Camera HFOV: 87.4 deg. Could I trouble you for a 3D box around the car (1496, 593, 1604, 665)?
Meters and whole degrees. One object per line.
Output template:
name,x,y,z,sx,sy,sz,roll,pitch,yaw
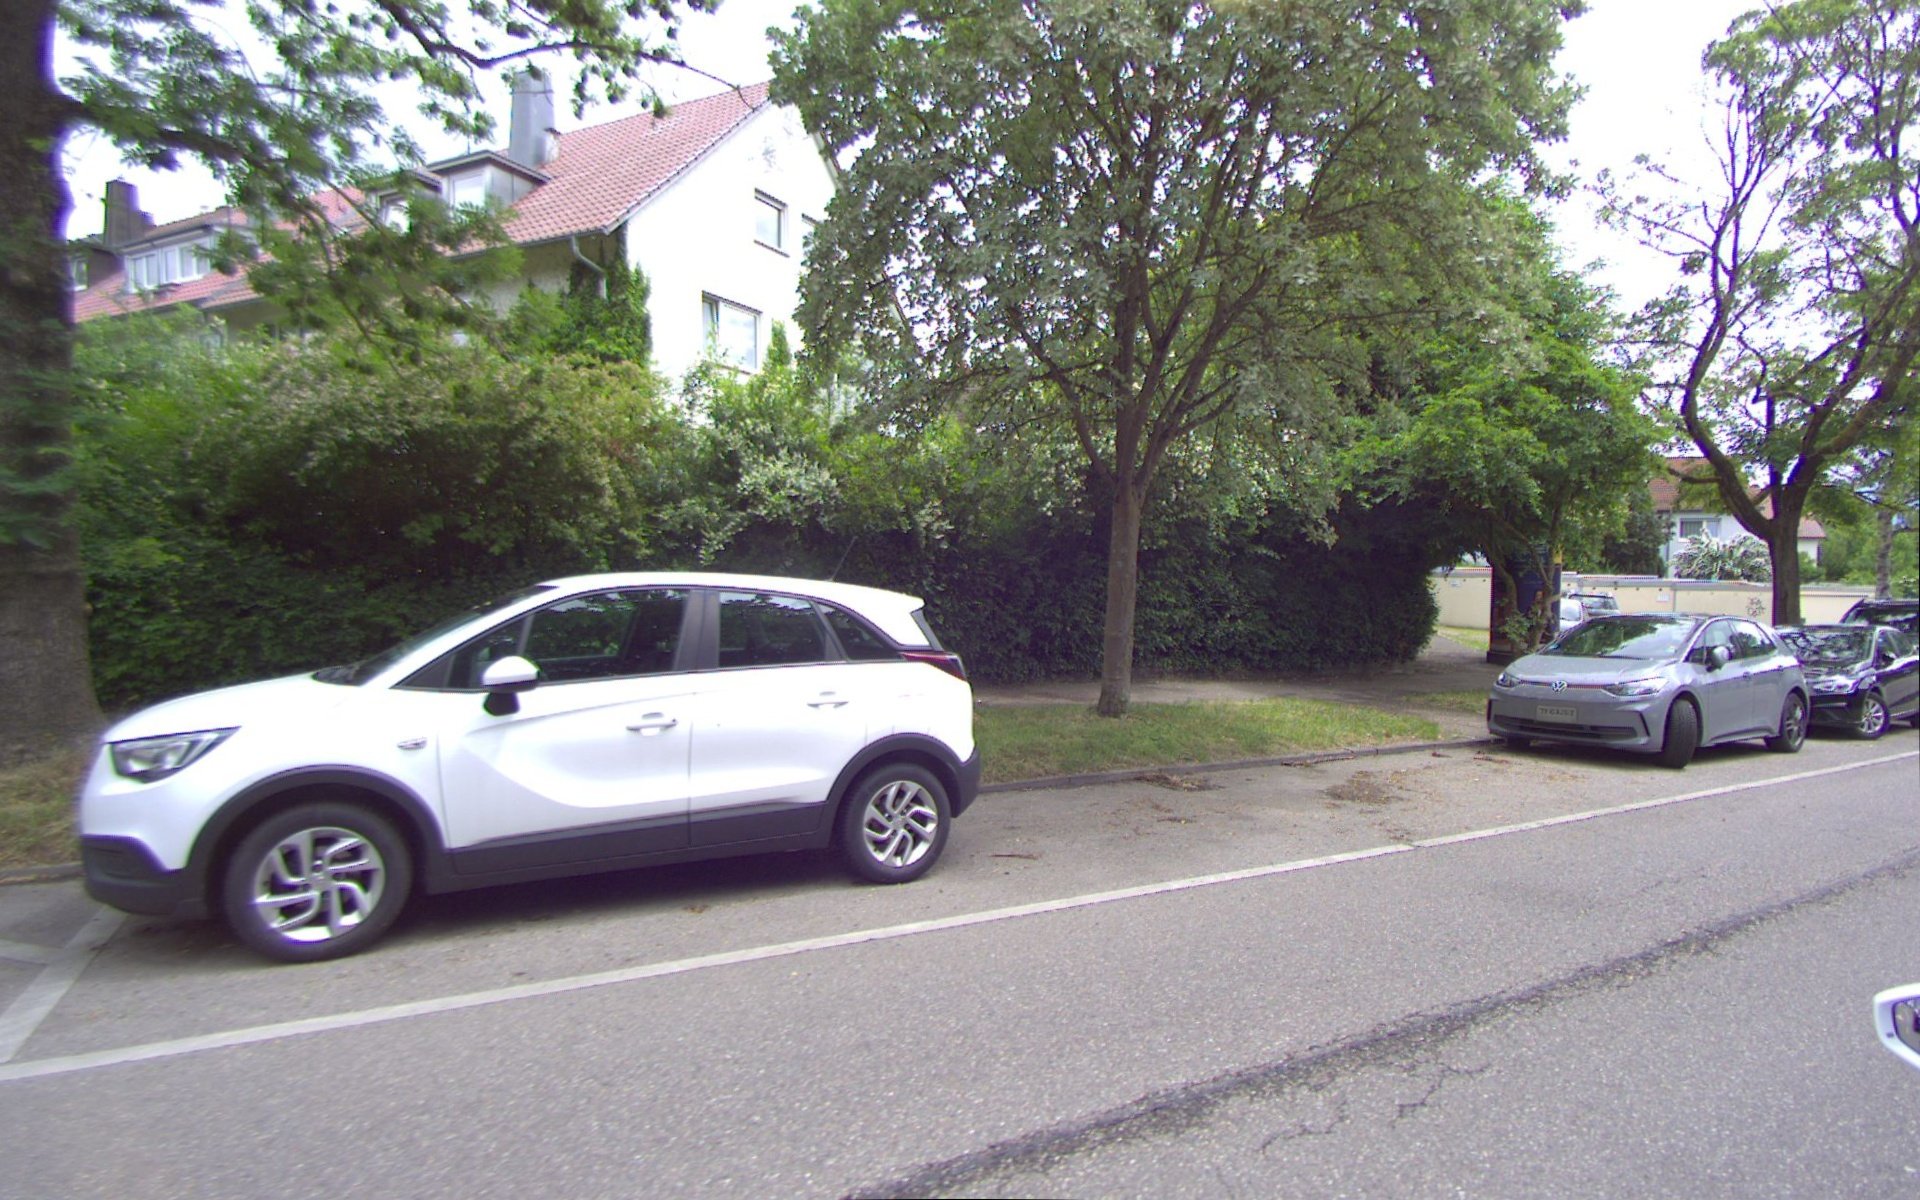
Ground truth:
car,14.578,0.657,24.731,1.750,1.497,3.975,6,3,37

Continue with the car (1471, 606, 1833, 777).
car,7.842,0.897,11.291,4.180,1.558,1.856,1,0,-32

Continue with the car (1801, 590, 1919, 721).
car,16.100,0.861,16.774,5.031,1.934,1.846,1,0,-34

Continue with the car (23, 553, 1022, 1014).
car,-1.863,0.670,5.248,4.091,1.600,1.728,1,0,-29
